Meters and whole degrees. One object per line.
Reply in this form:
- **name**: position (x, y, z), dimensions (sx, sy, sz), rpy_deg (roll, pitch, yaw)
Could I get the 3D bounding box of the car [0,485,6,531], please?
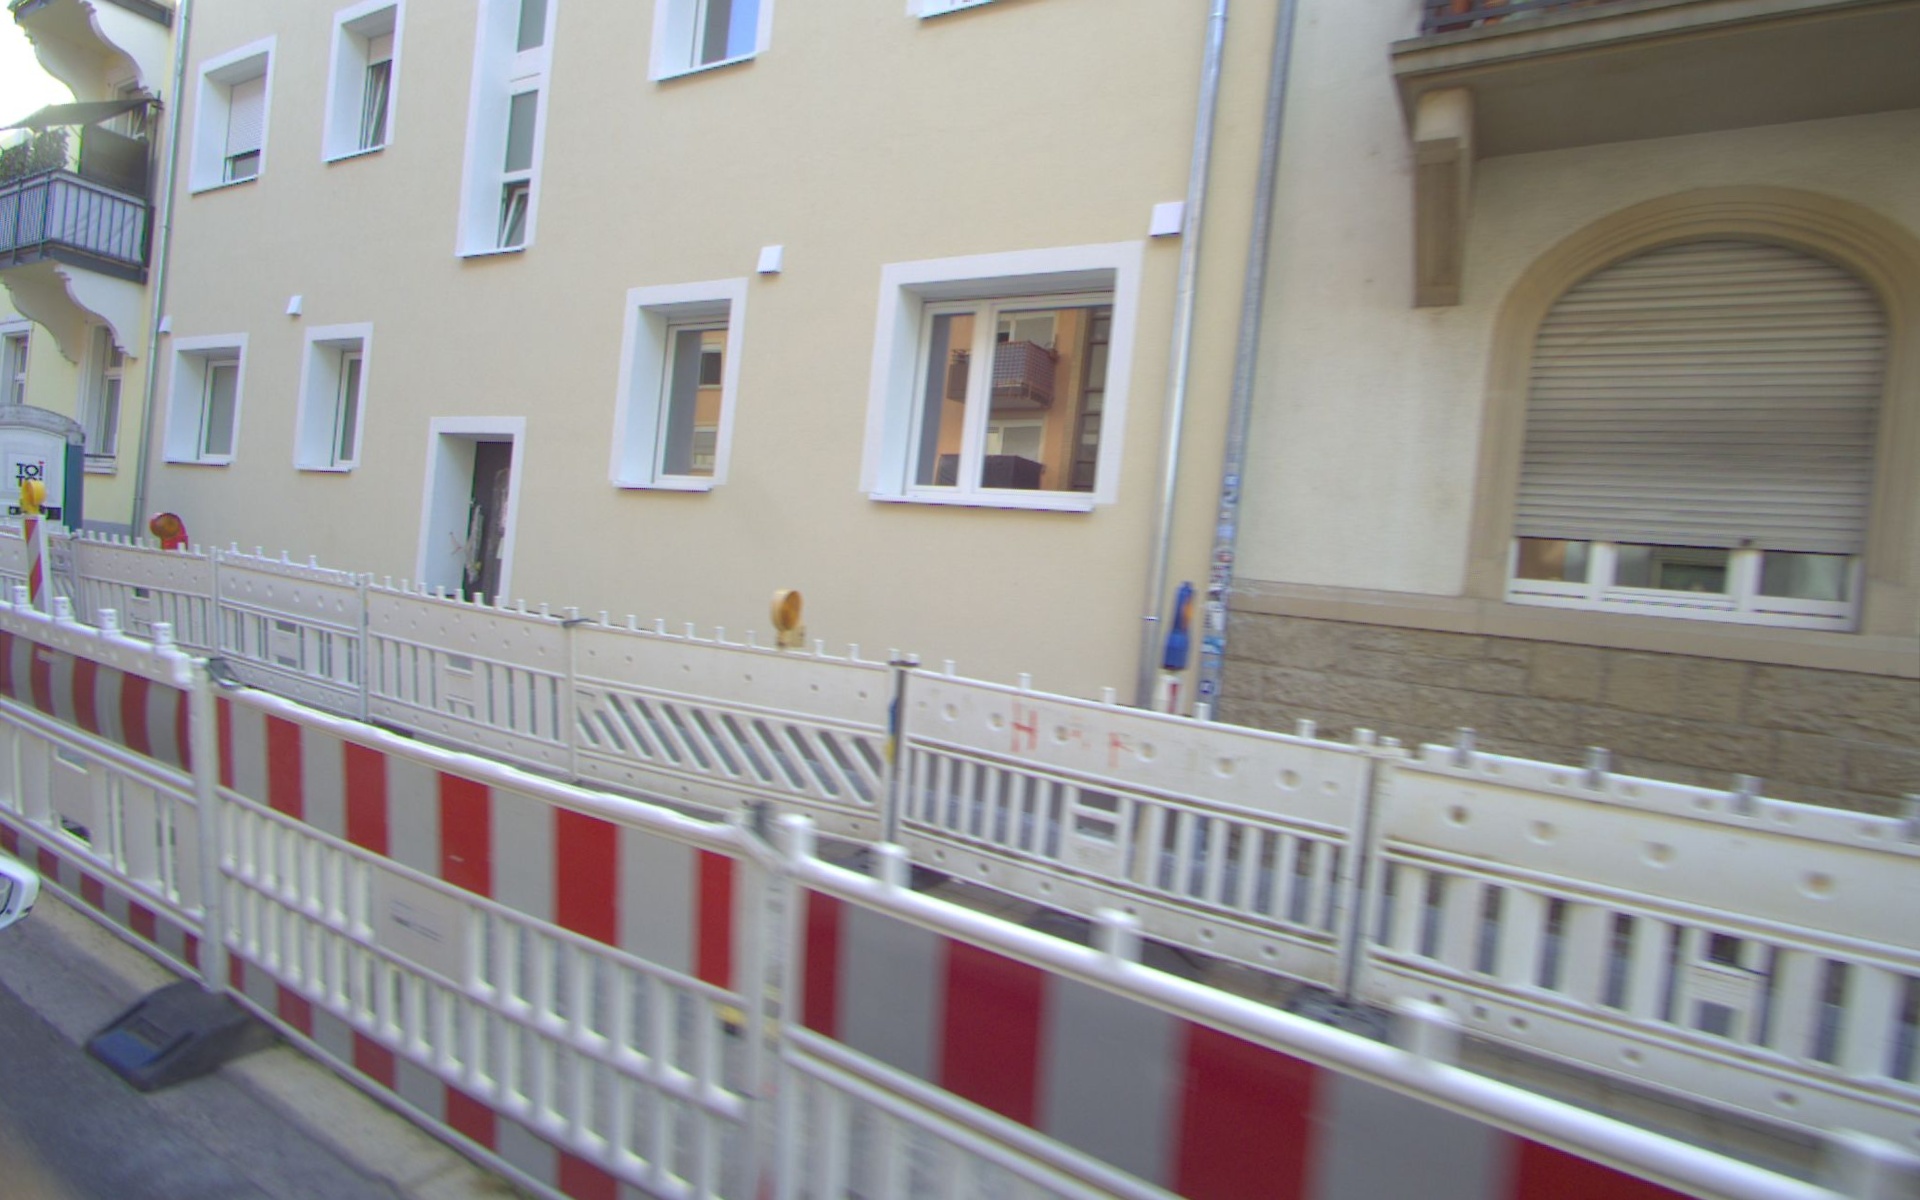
- **car**: position (-33.019, -3.136, 31.248), dimensions (1.795, 1.487, 4.546), rpy_deg (4, 0, 24)
